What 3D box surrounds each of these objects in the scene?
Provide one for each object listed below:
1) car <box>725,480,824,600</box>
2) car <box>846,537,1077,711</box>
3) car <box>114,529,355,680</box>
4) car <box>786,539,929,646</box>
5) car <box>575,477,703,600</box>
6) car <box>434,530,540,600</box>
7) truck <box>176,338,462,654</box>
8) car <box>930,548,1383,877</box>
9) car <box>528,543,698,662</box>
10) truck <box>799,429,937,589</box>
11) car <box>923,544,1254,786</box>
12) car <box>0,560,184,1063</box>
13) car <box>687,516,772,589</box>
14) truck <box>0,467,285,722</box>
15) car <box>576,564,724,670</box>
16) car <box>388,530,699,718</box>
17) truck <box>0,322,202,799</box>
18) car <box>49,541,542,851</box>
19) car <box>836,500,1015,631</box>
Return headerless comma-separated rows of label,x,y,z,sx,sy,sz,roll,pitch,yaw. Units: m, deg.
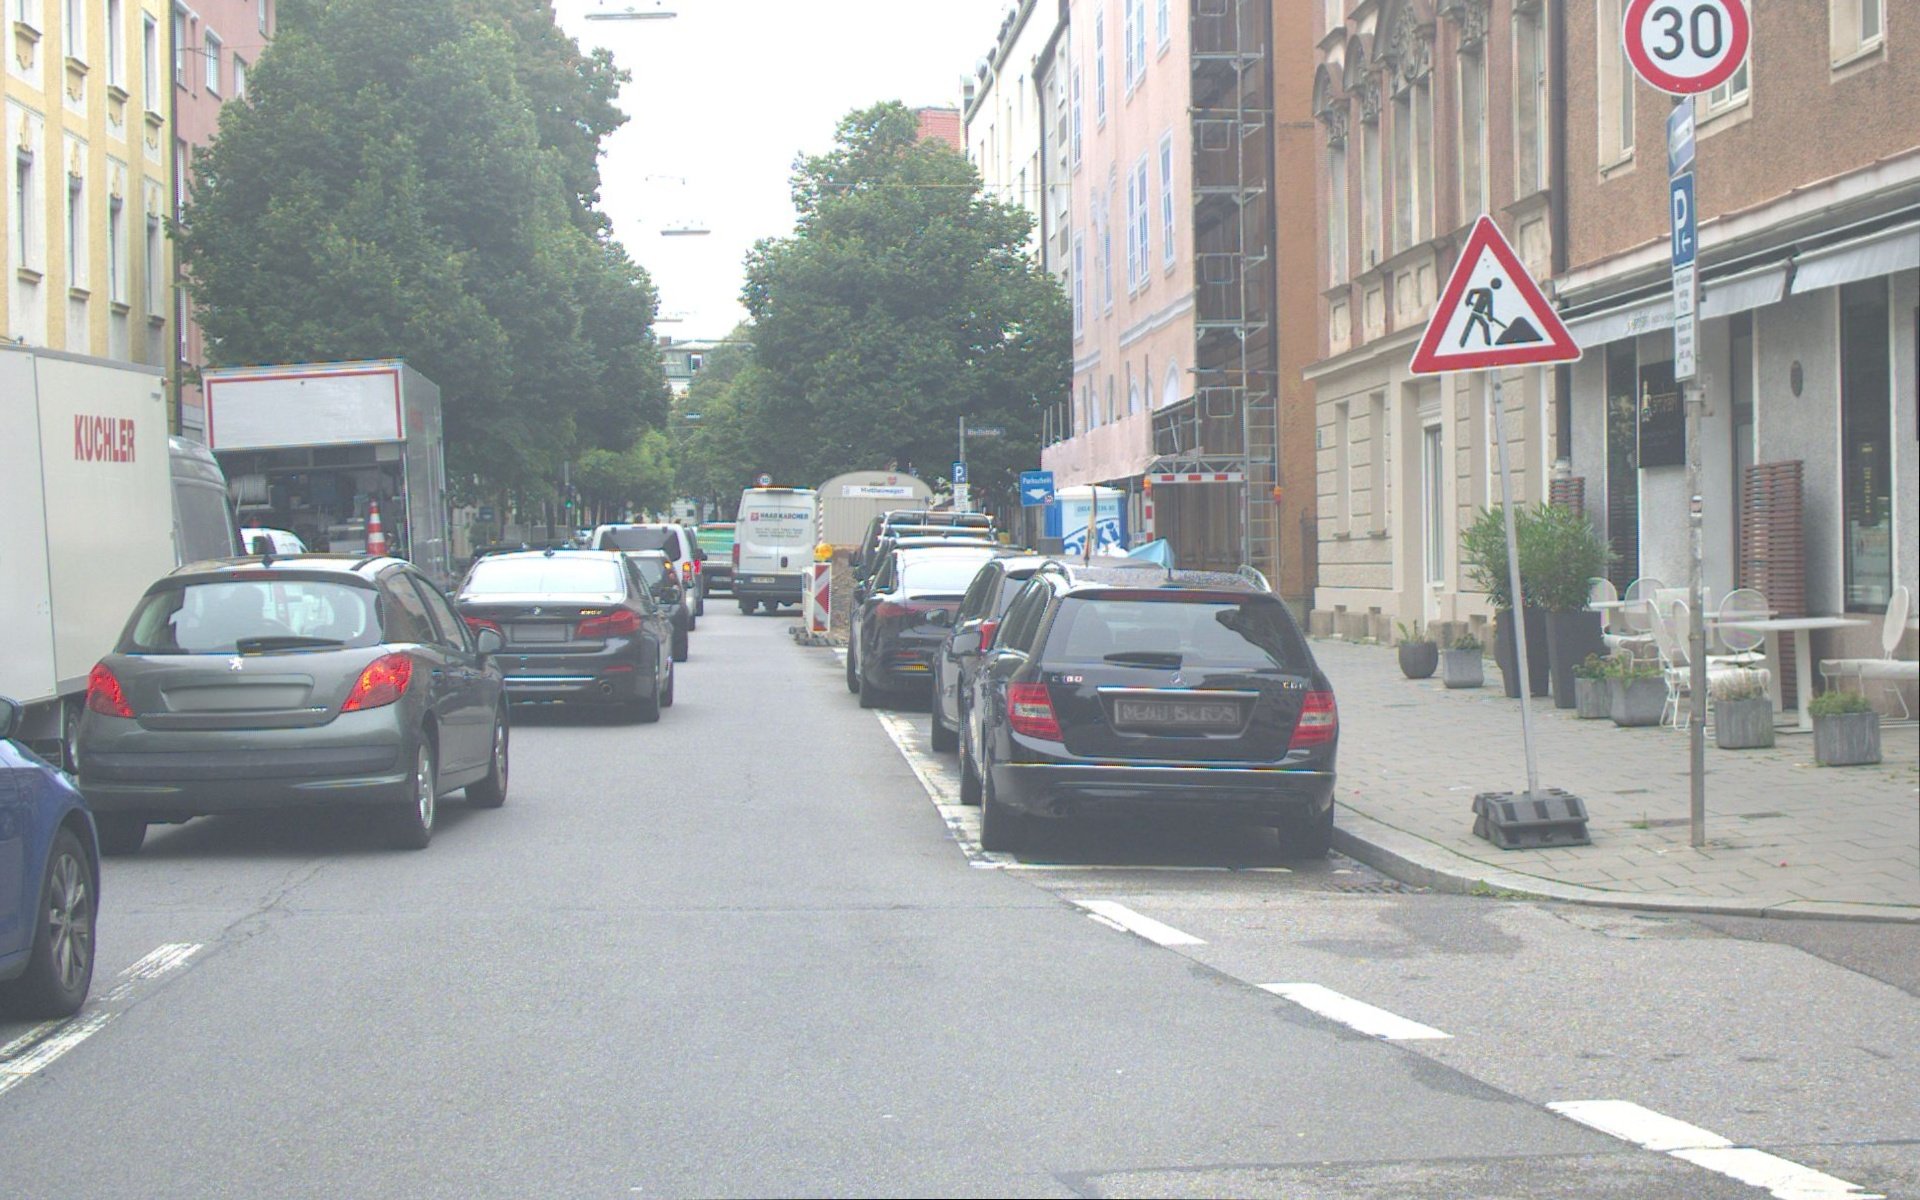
car,-3.933,-1.274,73.496,1.939,2.472,4.783,0,1,-1
car,-0.057,0.177,32.663,1.844,1.424,4.307,2,2,-4
car,-8.142,0.013,38.948,1.990,1.605,4.141,0,1,-2
car,-1.520,-0.144,50.428,1.990,1.424,4.141,-1,2,-2
car,-5.627,-1.107,60.623,1.990,2.068,4.141,-1,2,-2
car,-10.034,-0.749,73.161,1.939,1.443,3.867,0,1,-3
truck,-8.525,-1.362,46.516,3.012,3.938,6.996,0,1,-4
car,0.909,0.502,18.299,1.844,1.424,4.184,2,2,-4
car,-4.586,-0.001,45.960,1.990,1.424,4.141,-1,2,-2
truck,-1.832,-1.738,66.556,2.491,2.963,5.328,0,1,-3
car,0.807,0.385,24.145,1.844,1.424,4.141,2,2,-4
car,-3.801,0.635,9.445,1.987,1.449,4.734,-2,0,3
car,-6.065,-1.258,90.849,1.993,1.897,4.000,0,1,-1
truck,-7.694,-0.086,31.579,2.286,2.164,4.807,0,1,-3
car,-4.655,0.221,52.117,1.990,1.424,4.141,-1,2,-2
car,-3.491,0.141,29.712,1.990,1.424,4.906,0,2,1
truck,-7.265,-0.316,23.499,2.773,2.863,7.203,-1,2,-2
car,-3.419,0.430,18.445,1.759,1.456,4.074,-1,1,1
car,-0.456,-0.446,40.639,1.990,1.424,4.141,-1,2,-2
